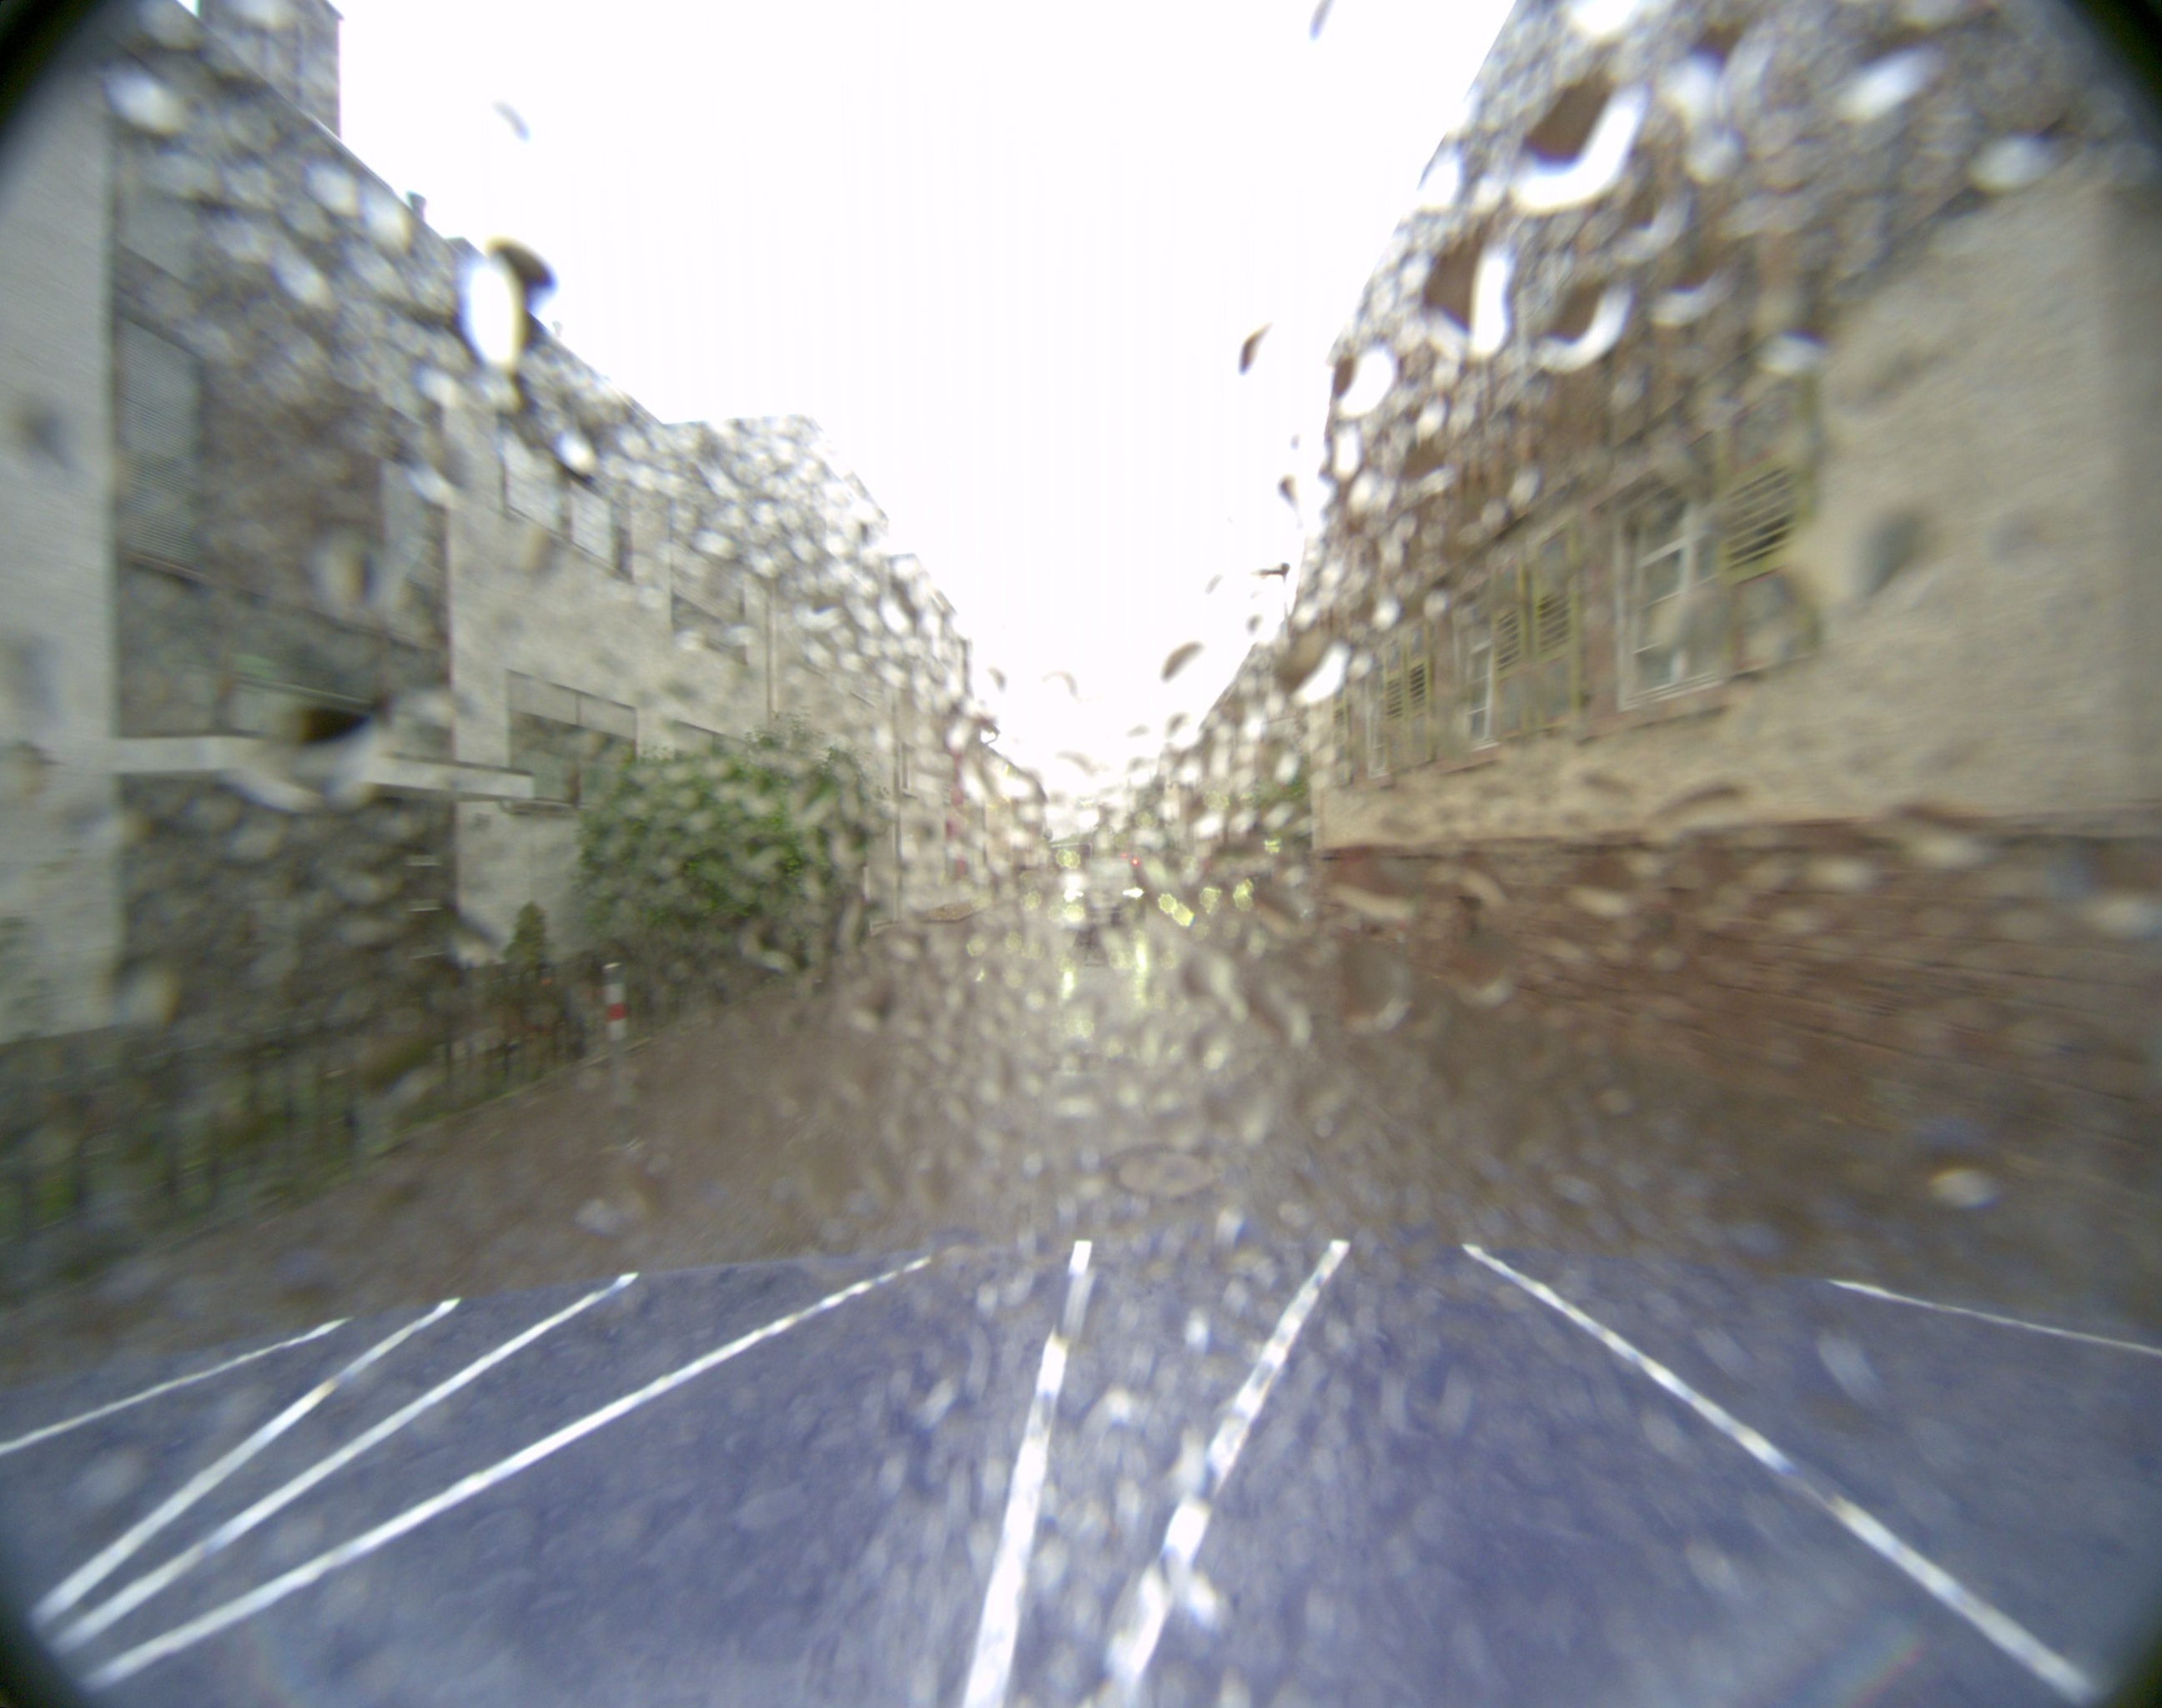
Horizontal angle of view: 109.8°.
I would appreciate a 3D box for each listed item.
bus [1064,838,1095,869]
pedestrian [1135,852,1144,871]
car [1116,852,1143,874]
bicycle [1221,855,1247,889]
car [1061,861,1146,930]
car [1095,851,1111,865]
[{"bbox_3d":[-0.324,-0.087,83.681,2.669,3.213,12.186,0,0,-4],"label":"bus"},{"bbox_3d":[5.010,0.628,64.819,0.573,1.529,0.833,-3,1,-4],"label":"pedestrian"},{"bbox_3d":[3.685,0.654,58.197,1.837,1.547,4.238,0,1,0],"label":"car"},{"bbox_3d":[5.489,0.626,27.346,0.483,1.171,1.874,-3,0,-1],"label":"bicycle"},{"bbox_3d":[0.605,0.892,17.874,1.738,1.362,4.103,-2,0,4],"label":"car"},{"bbox_3d":[2.465,0.417,86.124,1.608,1.504,3.688,-2,0,0],"label":"car"}]
